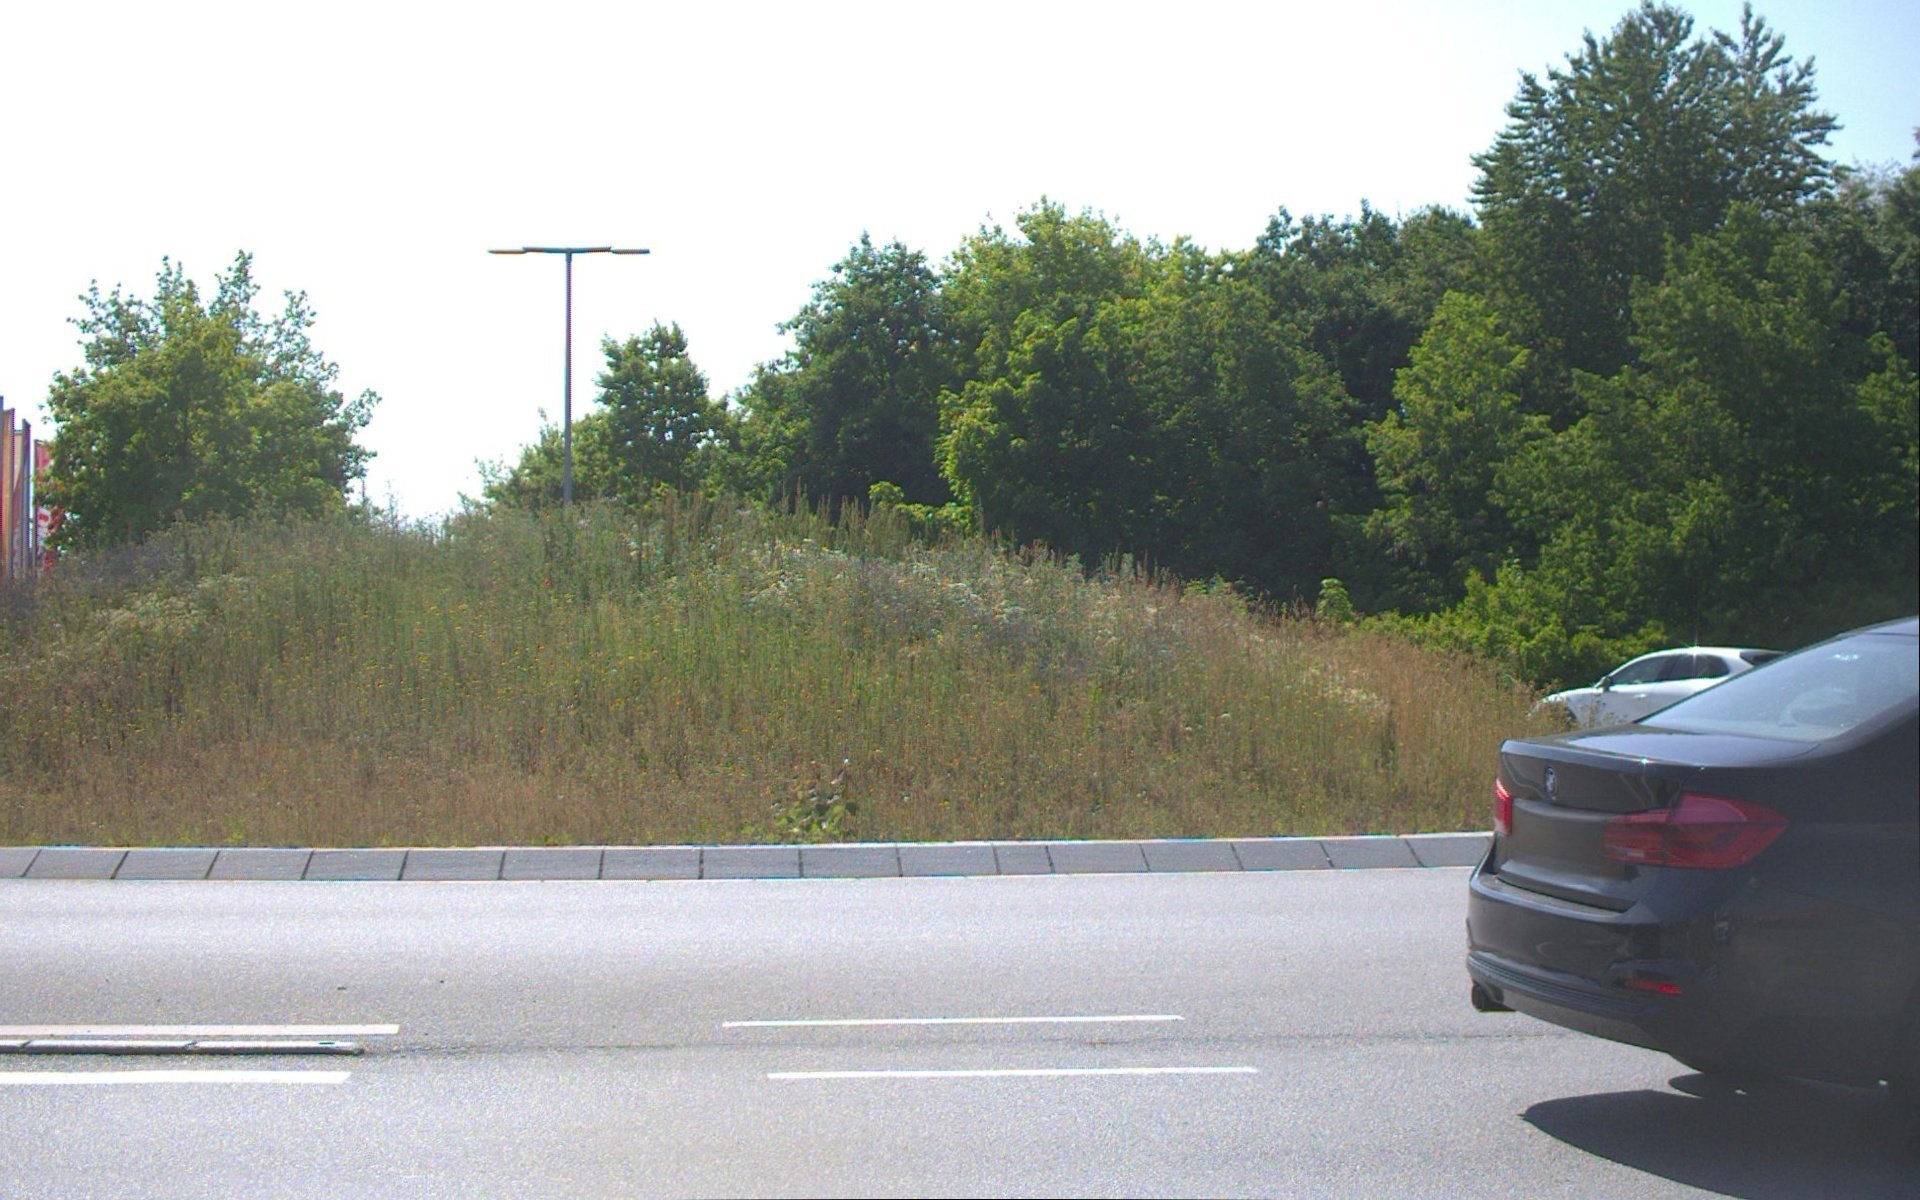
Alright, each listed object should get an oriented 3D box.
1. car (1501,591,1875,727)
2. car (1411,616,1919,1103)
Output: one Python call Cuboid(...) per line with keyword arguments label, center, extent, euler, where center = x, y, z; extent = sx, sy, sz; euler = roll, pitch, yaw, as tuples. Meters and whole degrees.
Cuboid(label="car", center=(8.584, 0.729, 40.855), extent=(1.786, 1.525, 4.287), euler=(1, -2, -34))
Cuboid(label="car", center=(3.378, 0.677, 9.583), extent=(3.851, 1.178, 1.677), euler=(1, 0, -10))
